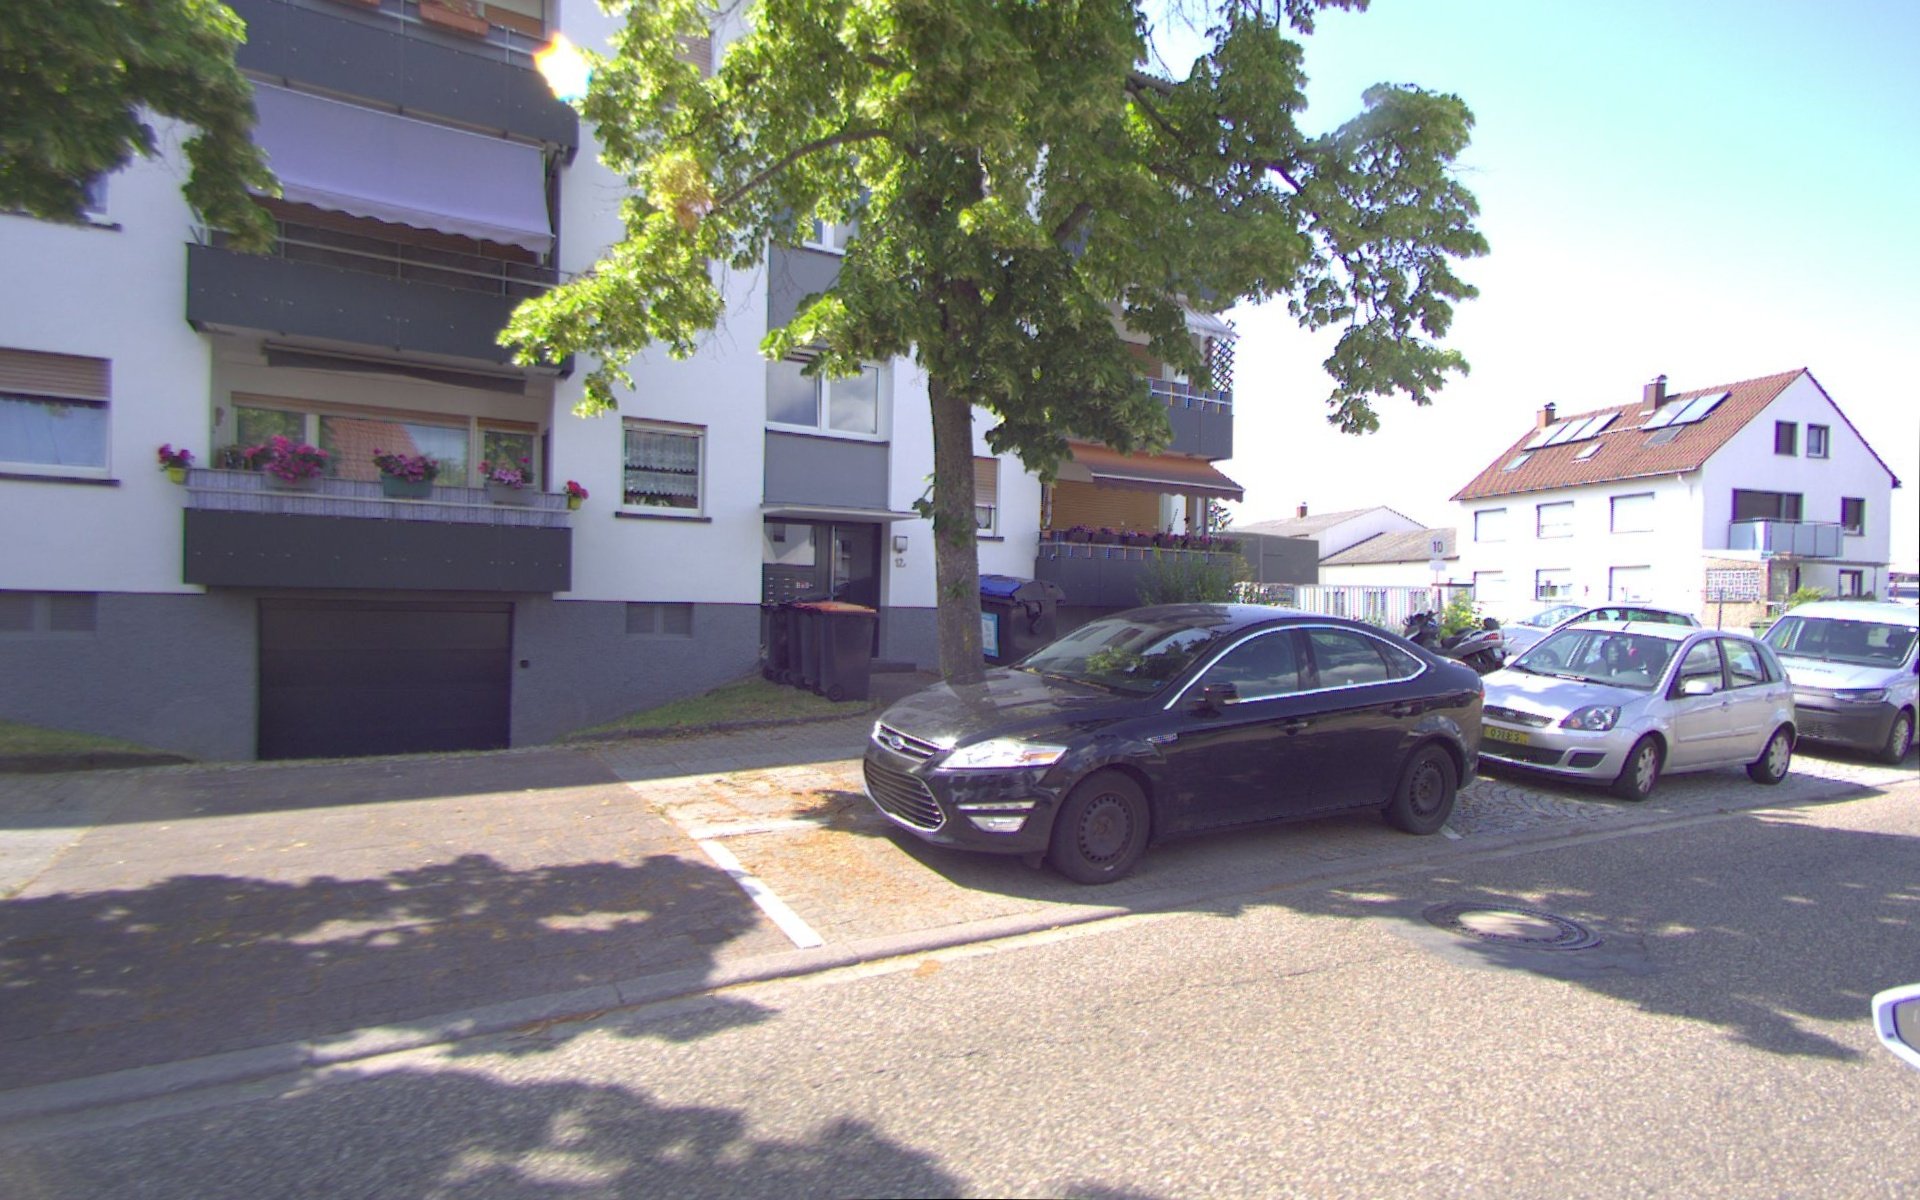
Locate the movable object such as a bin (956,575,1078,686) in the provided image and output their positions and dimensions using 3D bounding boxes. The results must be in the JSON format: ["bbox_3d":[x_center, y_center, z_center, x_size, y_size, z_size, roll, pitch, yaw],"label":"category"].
[{"bbox_3d":[0.814,0.402,14.521,1.250,1.402,1.264,-5,6,-30],"label":"movable object such as a bin"}]

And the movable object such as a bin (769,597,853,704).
[{"bbox_3d":[-1.822,0.593,12.280,0.797,1.230,0.746,-1,2,-30],"label":"movable object such as a bin"}]

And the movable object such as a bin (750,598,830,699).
[{"bbox_3d":[-2.200,0.595,12.964,0.797,1.230,0.746,-1,2,-30],"label":"movable object such as a bin"}]

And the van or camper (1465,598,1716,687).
[{"bbox_3d":[12.788,0.821,20.577,3.919,1.563,1.782,2,1,5],"label":"van or camper"}]

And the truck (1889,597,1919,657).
[{"bbox_3d":[49.306,1.288,46.308,2.684,2.894,9.230,1,-1,-25],"label":"truck"}]

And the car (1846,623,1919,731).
[{"bbox_3d":[16.194,1.195,16.104,4.658,1.481,1.738,0,4,-33],"label":"car"}]

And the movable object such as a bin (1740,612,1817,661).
[{"bbox_3d":[28.072,1.229,34.464,1.575,1.451,1.310,-5,2,-14],"label":"movable object such as a bin"}]

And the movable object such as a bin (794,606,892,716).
[{"bbox_3d":[-1.352,0.664,11.536,0.815,1.165,0.949,-1,2,-30],"label":"movable object such as a bin"}]

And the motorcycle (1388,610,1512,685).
[{"bbox_3d":[9.341,0.877,19.227,0.670,1.266,2.083,1,2,-30],"label":"motorcycle"}]

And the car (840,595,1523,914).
[{"bbox_3d":[1.633,0.787,6.903,4.542,1.514,1.801,1,3,-30],"label":"car"}]

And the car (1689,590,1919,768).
[{"bbox_3d":[11.410,0.887,12.777,4.440,1.830,1.800,1,3,-31],"label":"car"}]

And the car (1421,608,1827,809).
[{"bbox_3d":[6.460,0.931,9.707,3.879,1.489,1.615,2,3,-30],"label":"car"}]
